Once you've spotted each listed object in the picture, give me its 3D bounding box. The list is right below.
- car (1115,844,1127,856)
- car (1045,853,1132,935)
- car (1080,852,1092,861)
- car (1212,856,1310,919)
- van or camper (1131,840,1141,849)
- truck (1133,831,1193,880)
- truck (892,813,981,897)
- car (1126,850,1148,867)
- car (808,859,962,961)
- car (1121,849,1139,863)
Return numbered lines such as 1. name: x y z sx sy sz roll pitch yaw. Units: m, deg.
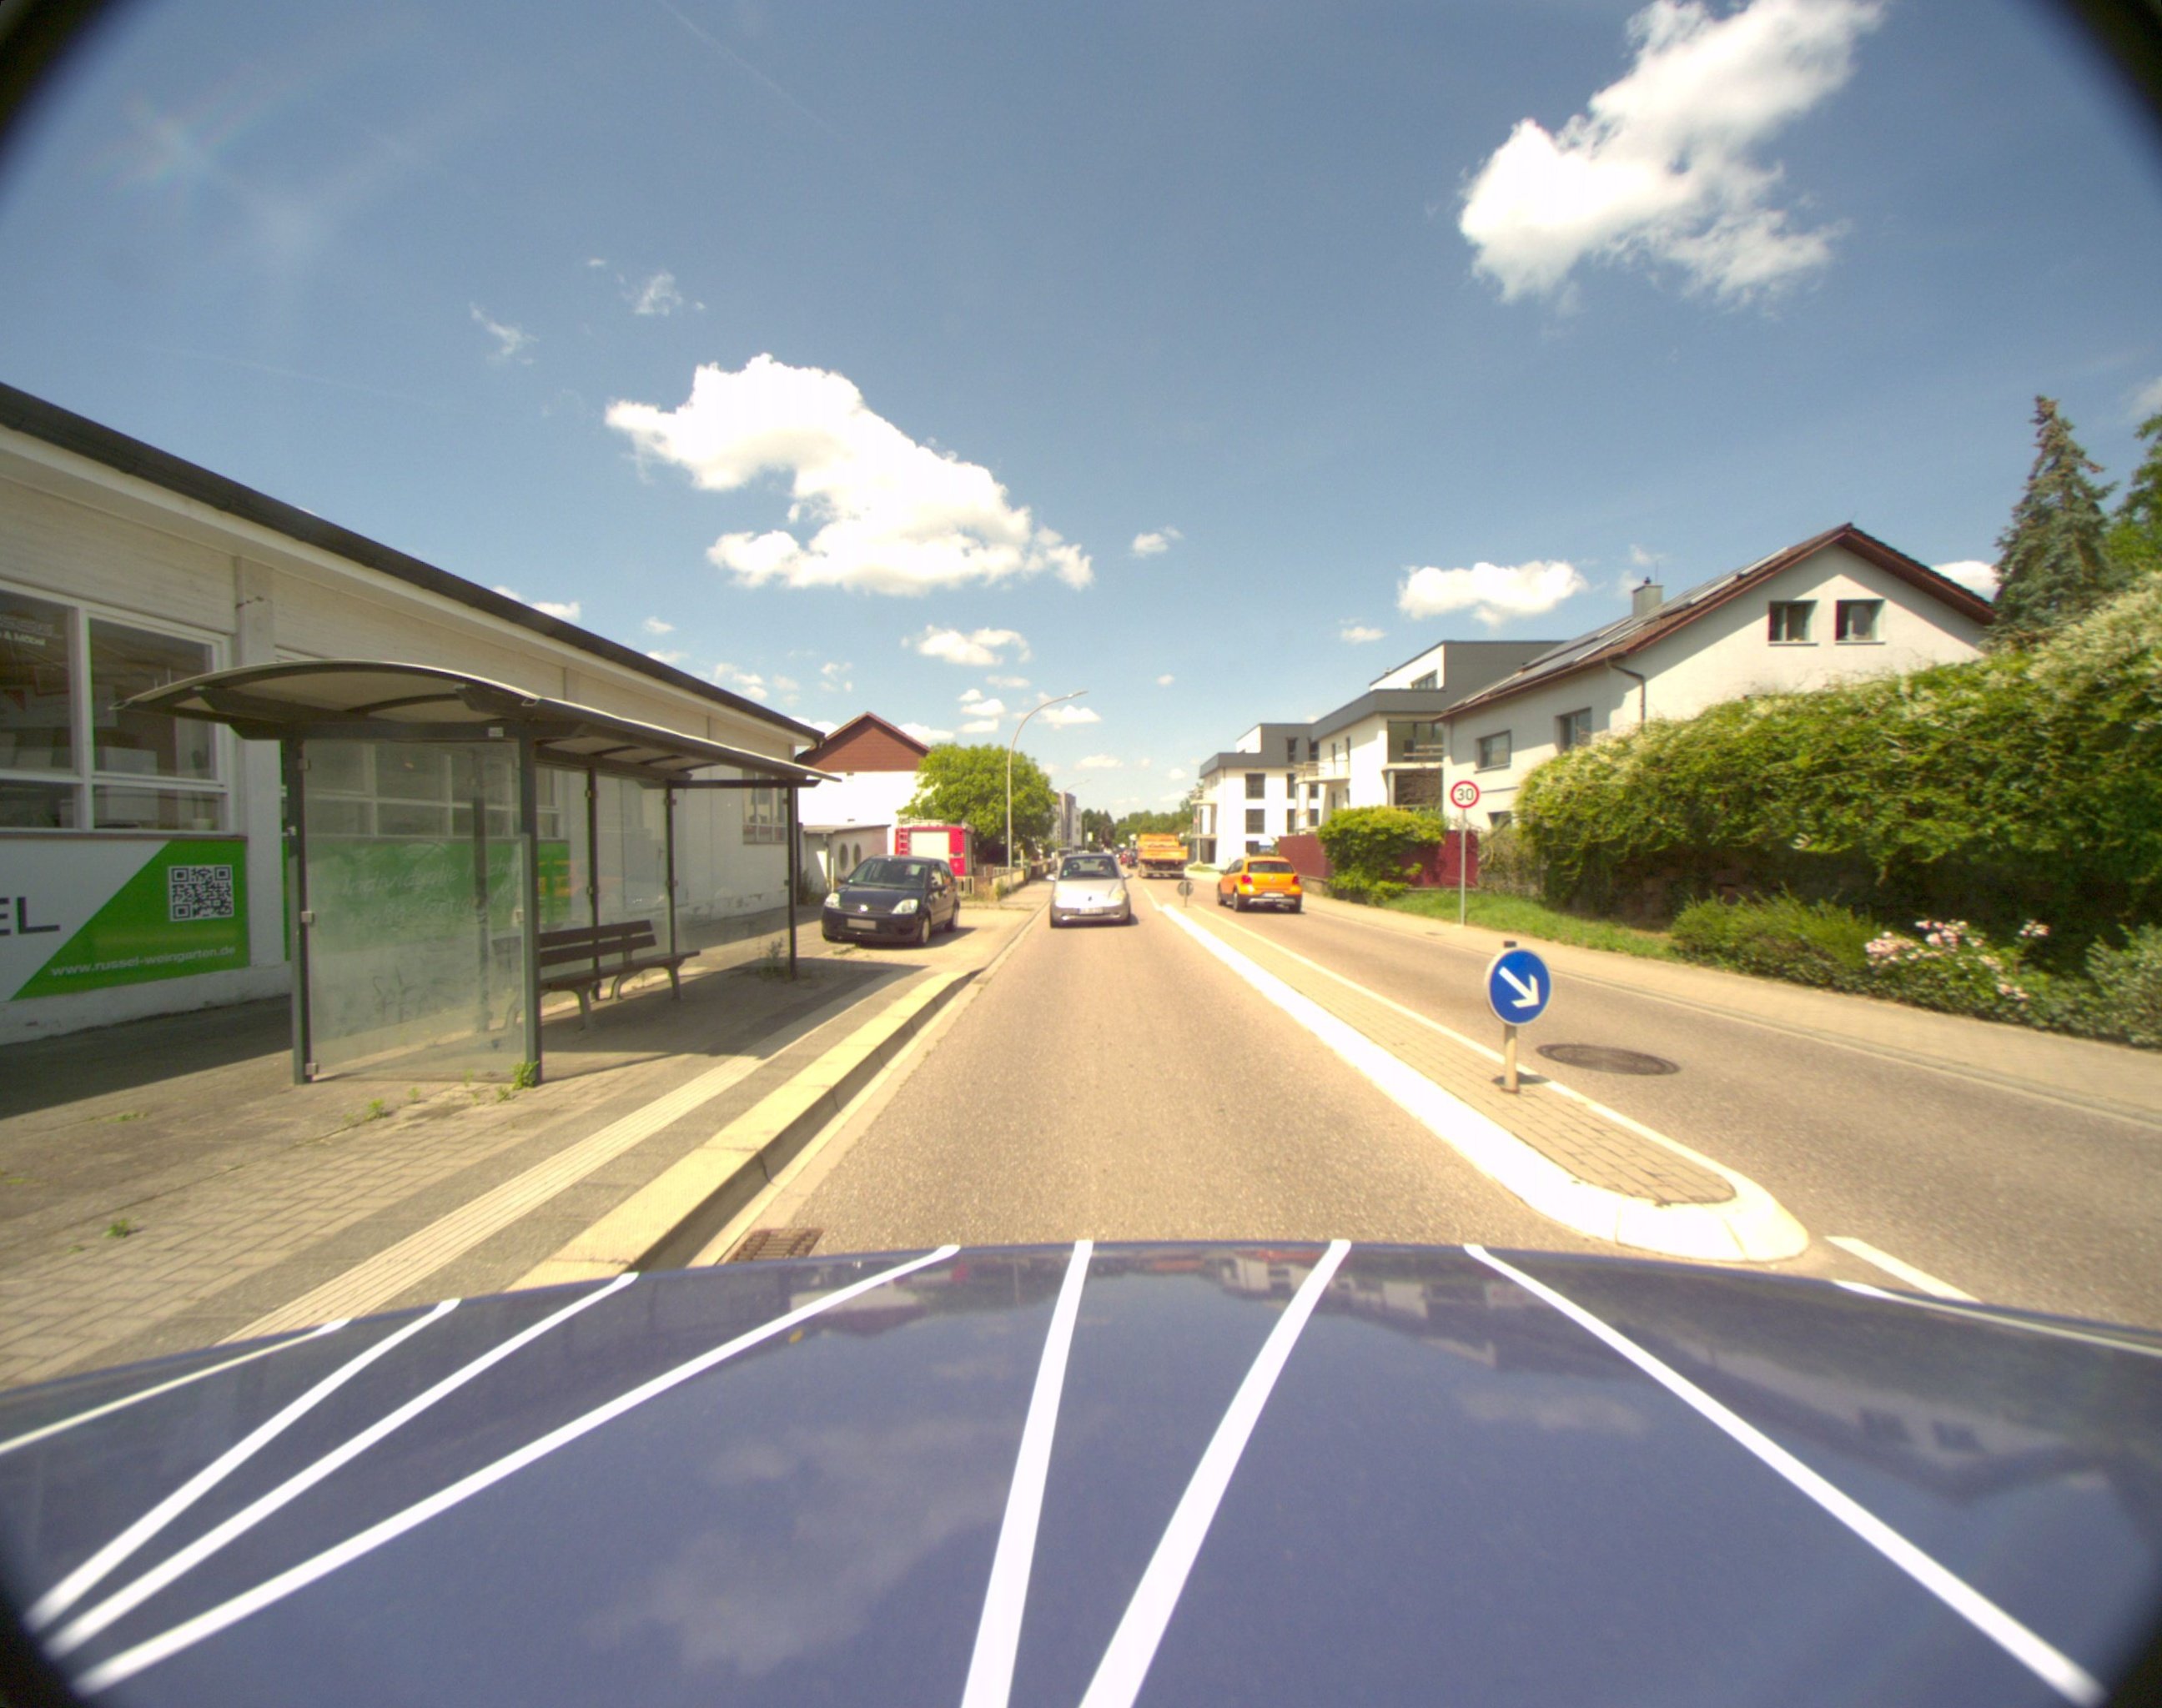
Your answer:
1. car: 6.540 -0.699 123.380 1.735 1.863 3.613 1 0 0
2. car: 0.162 0.818 17.519 1.723 1.590 3.759 -2 0 0
3. car: 0.906 0.350 123.840 1.729 1.484 3.761 1 0 3
4. car: 4.773 0.834 20.598 1.799 1.480 3.613 1 0 0
5. van or camper: 14.151 -2.330 194.380 1.995 2.217 4.452 1 0 12
6. truck: 4.794 0.027 45.567 2.864 2.695 6.790 1 1 0
7. truck: -5.219 0.030 28.388 2.580 2.745 6.331 1 0 -5
8. car: 5.072 0.376 69.149 1.735 1.509 3.613 1 0 0
9. car: -3.288 0.867 13.492 1.729 1.484 3.760 1 0 0
10. car: 5.404 0.182 83.543 1.735 1.509 3.613 1 0 0
